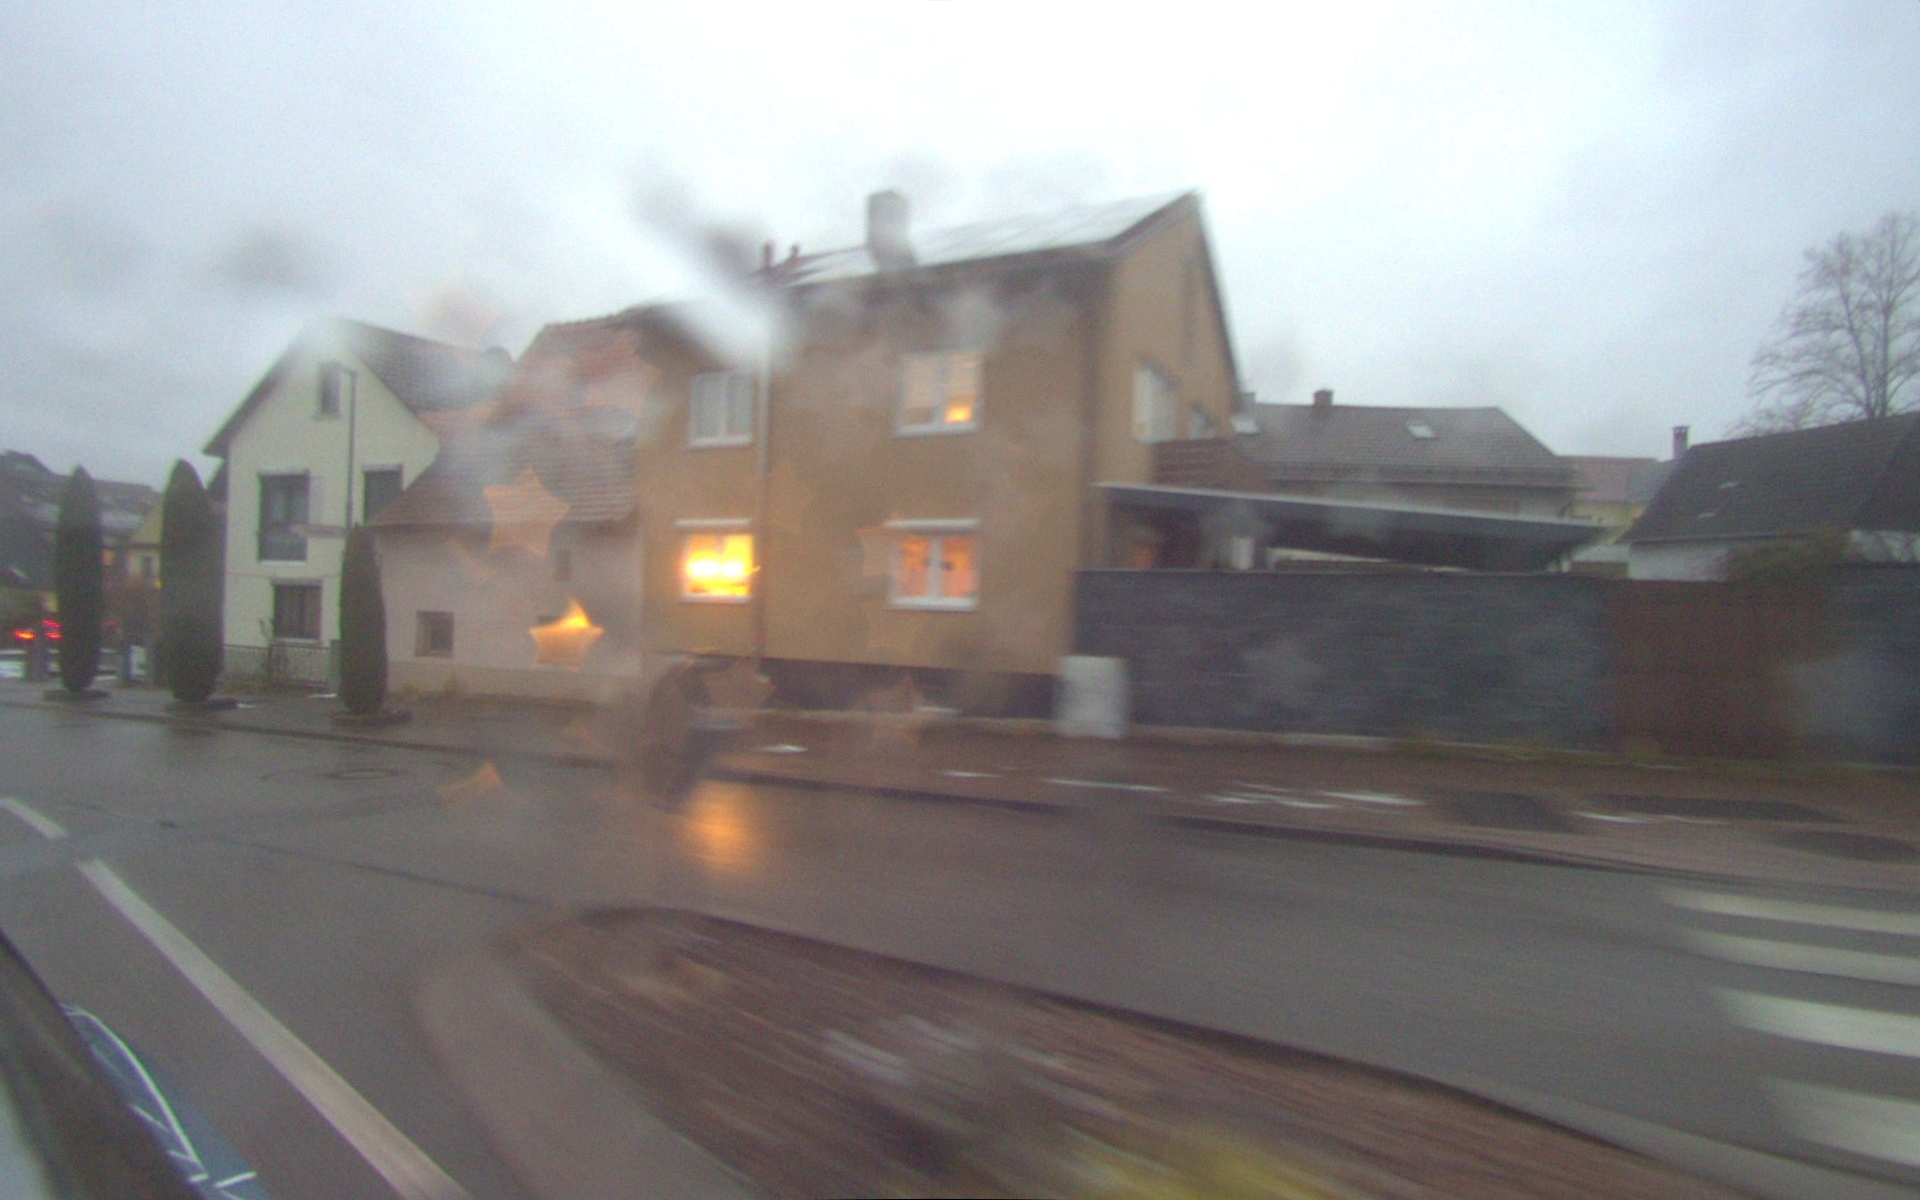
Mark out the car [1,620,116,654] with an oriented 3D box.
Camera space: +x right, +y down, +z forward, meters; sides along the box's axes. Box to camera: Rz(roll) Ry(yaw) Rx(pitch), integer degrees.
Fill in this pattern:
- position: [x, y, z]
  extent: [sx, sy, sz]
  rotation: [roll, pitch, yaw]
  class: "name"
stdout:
- position: [-46.755, 1.920, 52.643]
  extent: [1.857, 1.625, 4.601]
  rotation: [1, -2, 0]
  class: "car"
